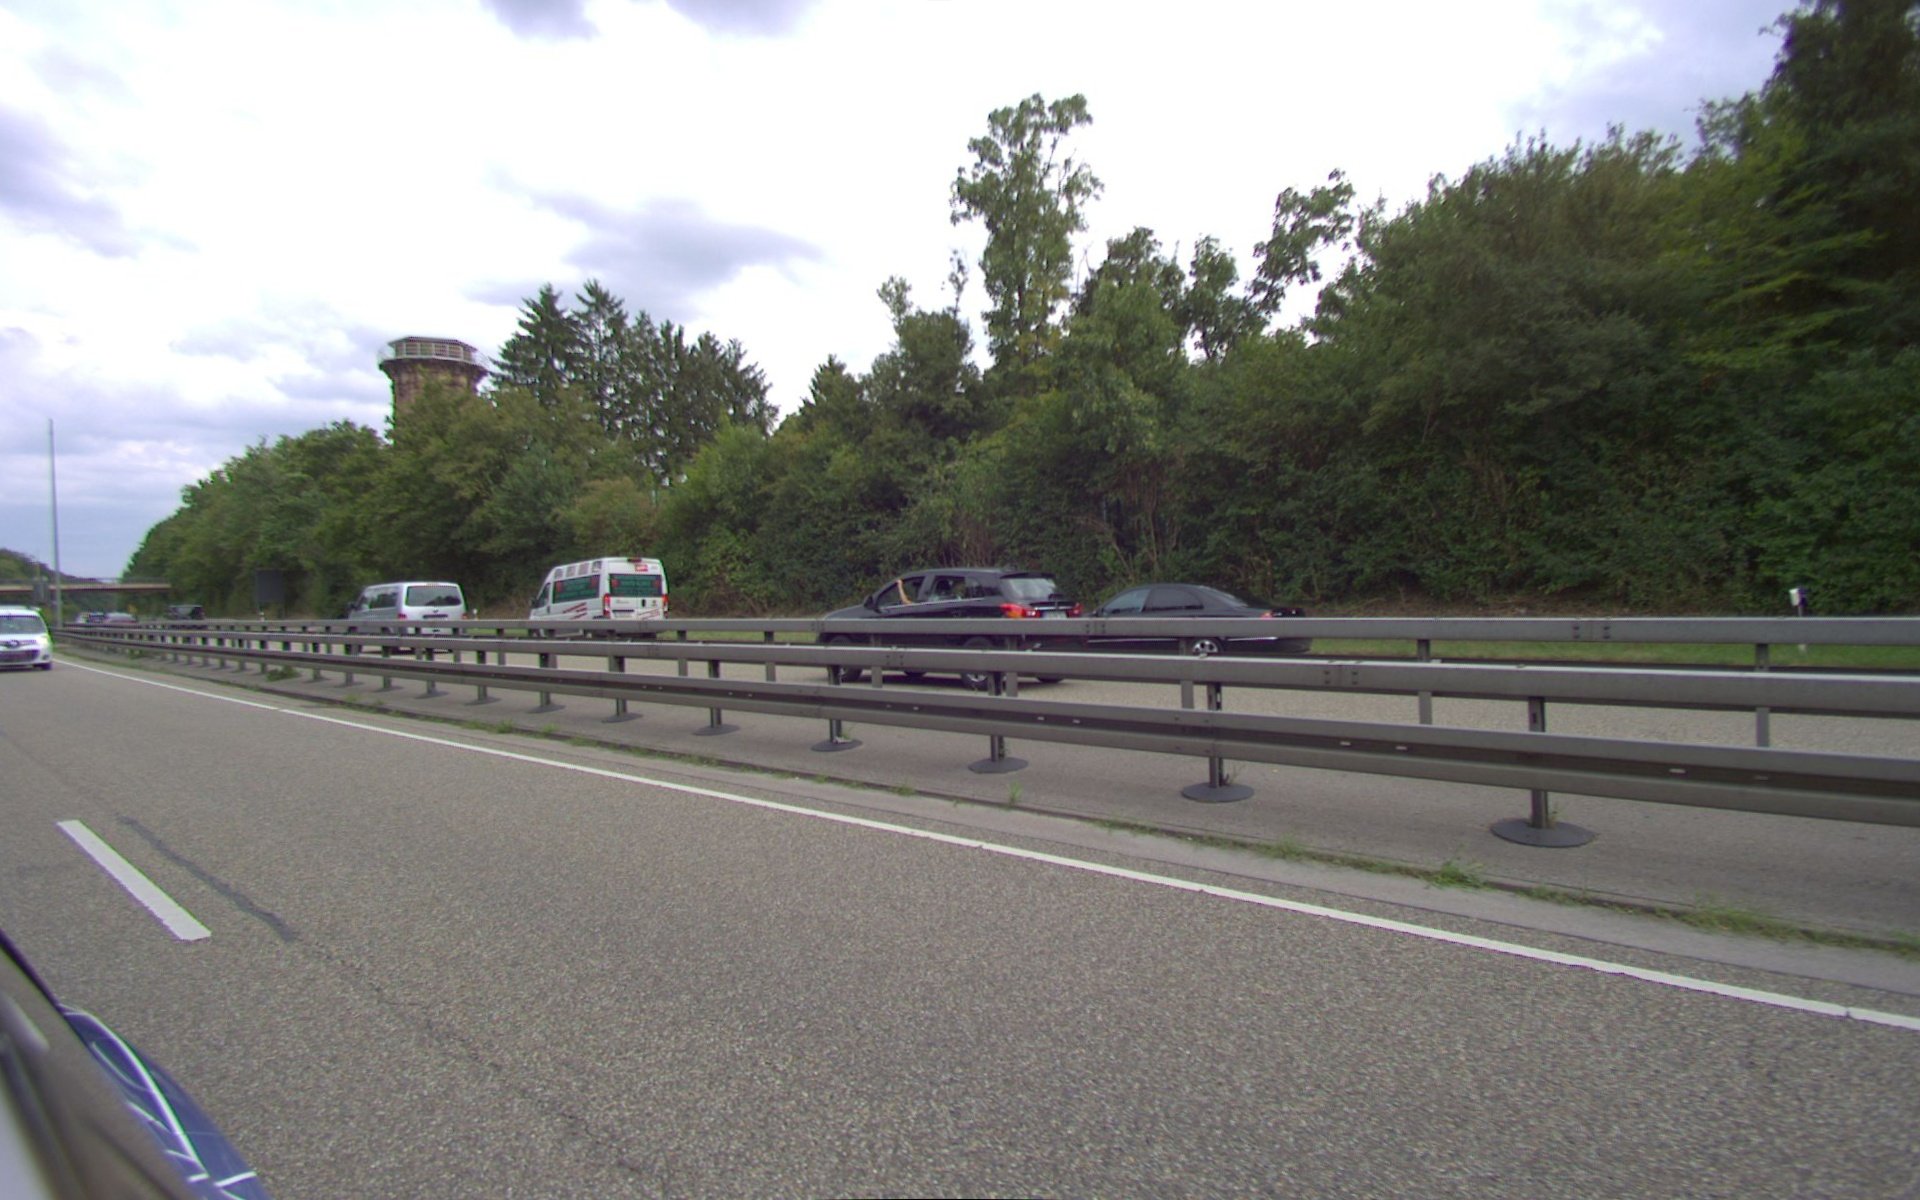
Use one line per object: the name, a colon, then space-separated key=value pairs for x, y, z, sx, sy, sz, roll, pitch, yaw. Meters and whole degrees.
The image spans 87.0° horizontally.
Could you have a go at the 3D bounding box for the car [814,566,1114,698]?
car: x=-0.046 y=0.414 z=14.112 sx=4.013 sy=1.575 sz=1.763 roll=-1 pitch=-1 yaw=41

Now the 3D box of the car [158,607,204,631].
car: x=-59.187 y=1.445 z=76.890 sx=5.124 sy=1.817 sz=2.012 roll=-1 pitch=-1 yaw=43

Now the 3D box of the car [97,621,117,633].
car: x=-117.658 y=3.747 z=139.591 sx=4.133 sy=1.613 sz=1.711 roll=-1 pitch=-1 yaw=45

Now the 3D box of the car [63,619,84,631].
car: x=-114.695 y=3.243 z=130.953 sx=4.058 sy=1.438 sz=1.692 roll=-1 pitch=-1 yaw=44

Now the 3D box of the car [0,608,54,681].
car: x=-27.921 y=1.260 z=29.554 sx=4.423 sy=2.020 sz=1.797 roll=-1 pitch=-1 yaw=43

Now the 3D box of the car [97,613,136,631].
car: x=-60.843 y=1.569 z=72.969 sx=4.713 sy=1.288 sz=1.637 roll=-1 pitch=-1 yaw=43

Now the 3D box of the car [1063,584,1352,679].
car: x=3.810 y=0.468 z=15.989 sx=4.105 sy=1.306 sz=1.756 roll=-1 pitch=-1 yaw=41

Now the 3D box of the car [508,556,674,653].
car: x=-11.073 y=0.178 z=30.160 sx=5.551 sy=2.631 sz=2.287 roll=-1 pitch=-1 yaw=41

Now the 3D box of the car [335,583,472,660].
car: x=-15.743 y=0.598 z=28.492 sx=5.056 sy=1.998 sz=1.802 roll=-1 pitch=-1 yaw=42

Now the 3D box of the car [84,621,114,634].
car: x=-91.859 y=2.963 z=107.962 sx=4.068 sy=1.309 sz=1.956 roll=-1 pitch=-1 yaw=43
